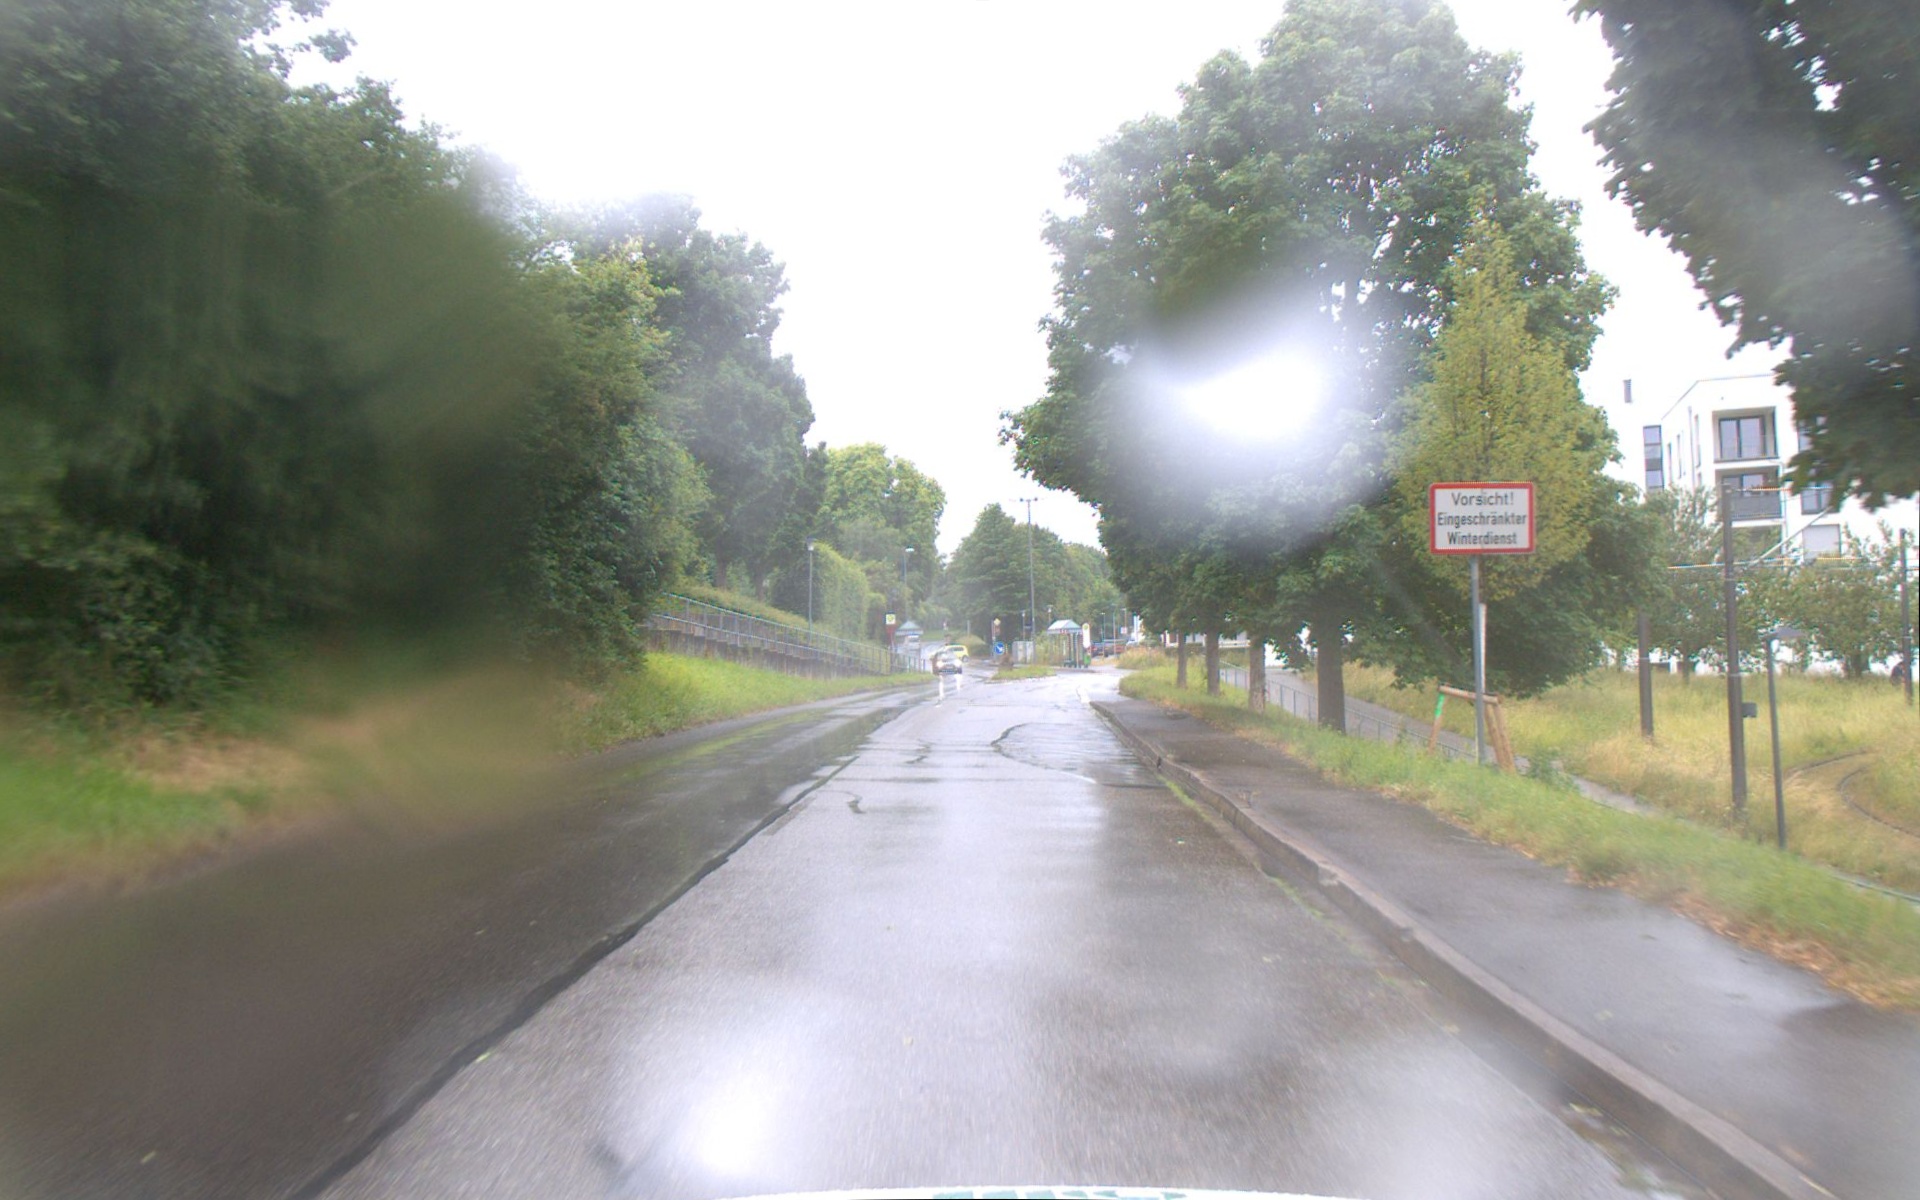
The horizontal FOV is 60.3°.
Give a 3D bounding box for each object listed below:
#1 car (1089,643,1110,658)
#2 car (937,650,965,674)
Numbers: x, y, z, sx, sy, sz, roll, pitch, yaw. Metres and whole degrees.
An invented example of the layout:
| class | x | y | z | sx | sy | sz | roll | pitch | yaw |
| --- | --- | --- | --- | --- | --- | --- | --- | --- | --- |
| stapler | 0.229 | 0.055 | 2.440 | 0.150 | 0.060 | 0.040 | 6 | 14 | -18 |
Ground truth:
| class | x | y | z | sx | sy | sz | roll | pitch | yaw |
| --- | --- | --- | --- | --- | --- | --- | --- | --- | --- |
| car | 14.577 | 5.266 | 173.113 | 1.655 | 1.463 | 3.608 | -2 | 0 | -5 |
| car | -0.605 | 4.165 | 111.423 | 1.725 | 1.529 | 4.139 | -3 | -2 | -2 |
